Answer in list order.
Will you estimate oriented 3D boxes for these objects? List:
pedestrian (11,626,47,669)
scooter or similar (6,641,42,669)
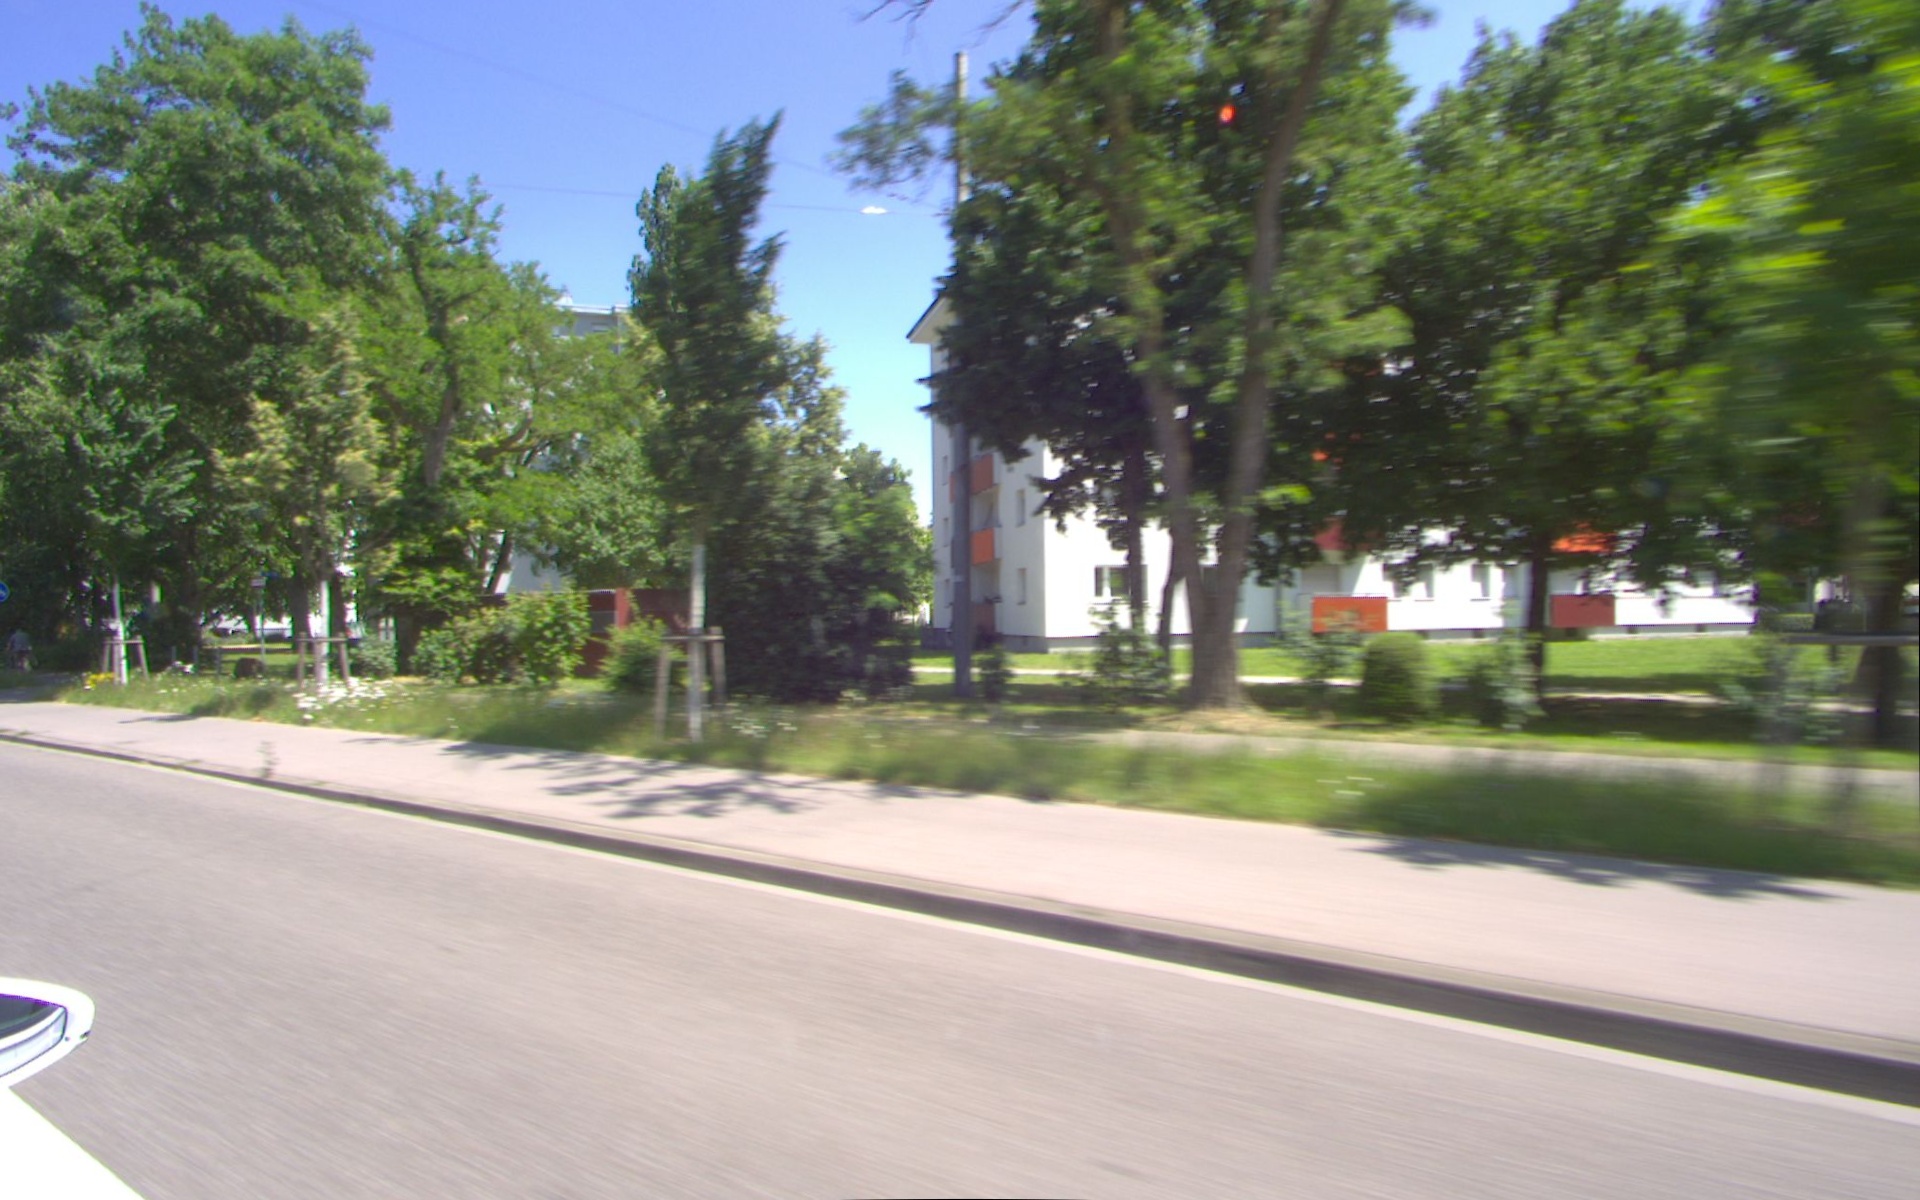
[{"bbox_3d":[-30.797,1.564,33.114,0.752,1.416,0.706,-1,-2,35],"label":"pedestrian"},{"bbox_3d":[-31.238,1.829,33.420,0.752,0.904,0.706,-1,-2,35],"label":"scooter or similar"}]
